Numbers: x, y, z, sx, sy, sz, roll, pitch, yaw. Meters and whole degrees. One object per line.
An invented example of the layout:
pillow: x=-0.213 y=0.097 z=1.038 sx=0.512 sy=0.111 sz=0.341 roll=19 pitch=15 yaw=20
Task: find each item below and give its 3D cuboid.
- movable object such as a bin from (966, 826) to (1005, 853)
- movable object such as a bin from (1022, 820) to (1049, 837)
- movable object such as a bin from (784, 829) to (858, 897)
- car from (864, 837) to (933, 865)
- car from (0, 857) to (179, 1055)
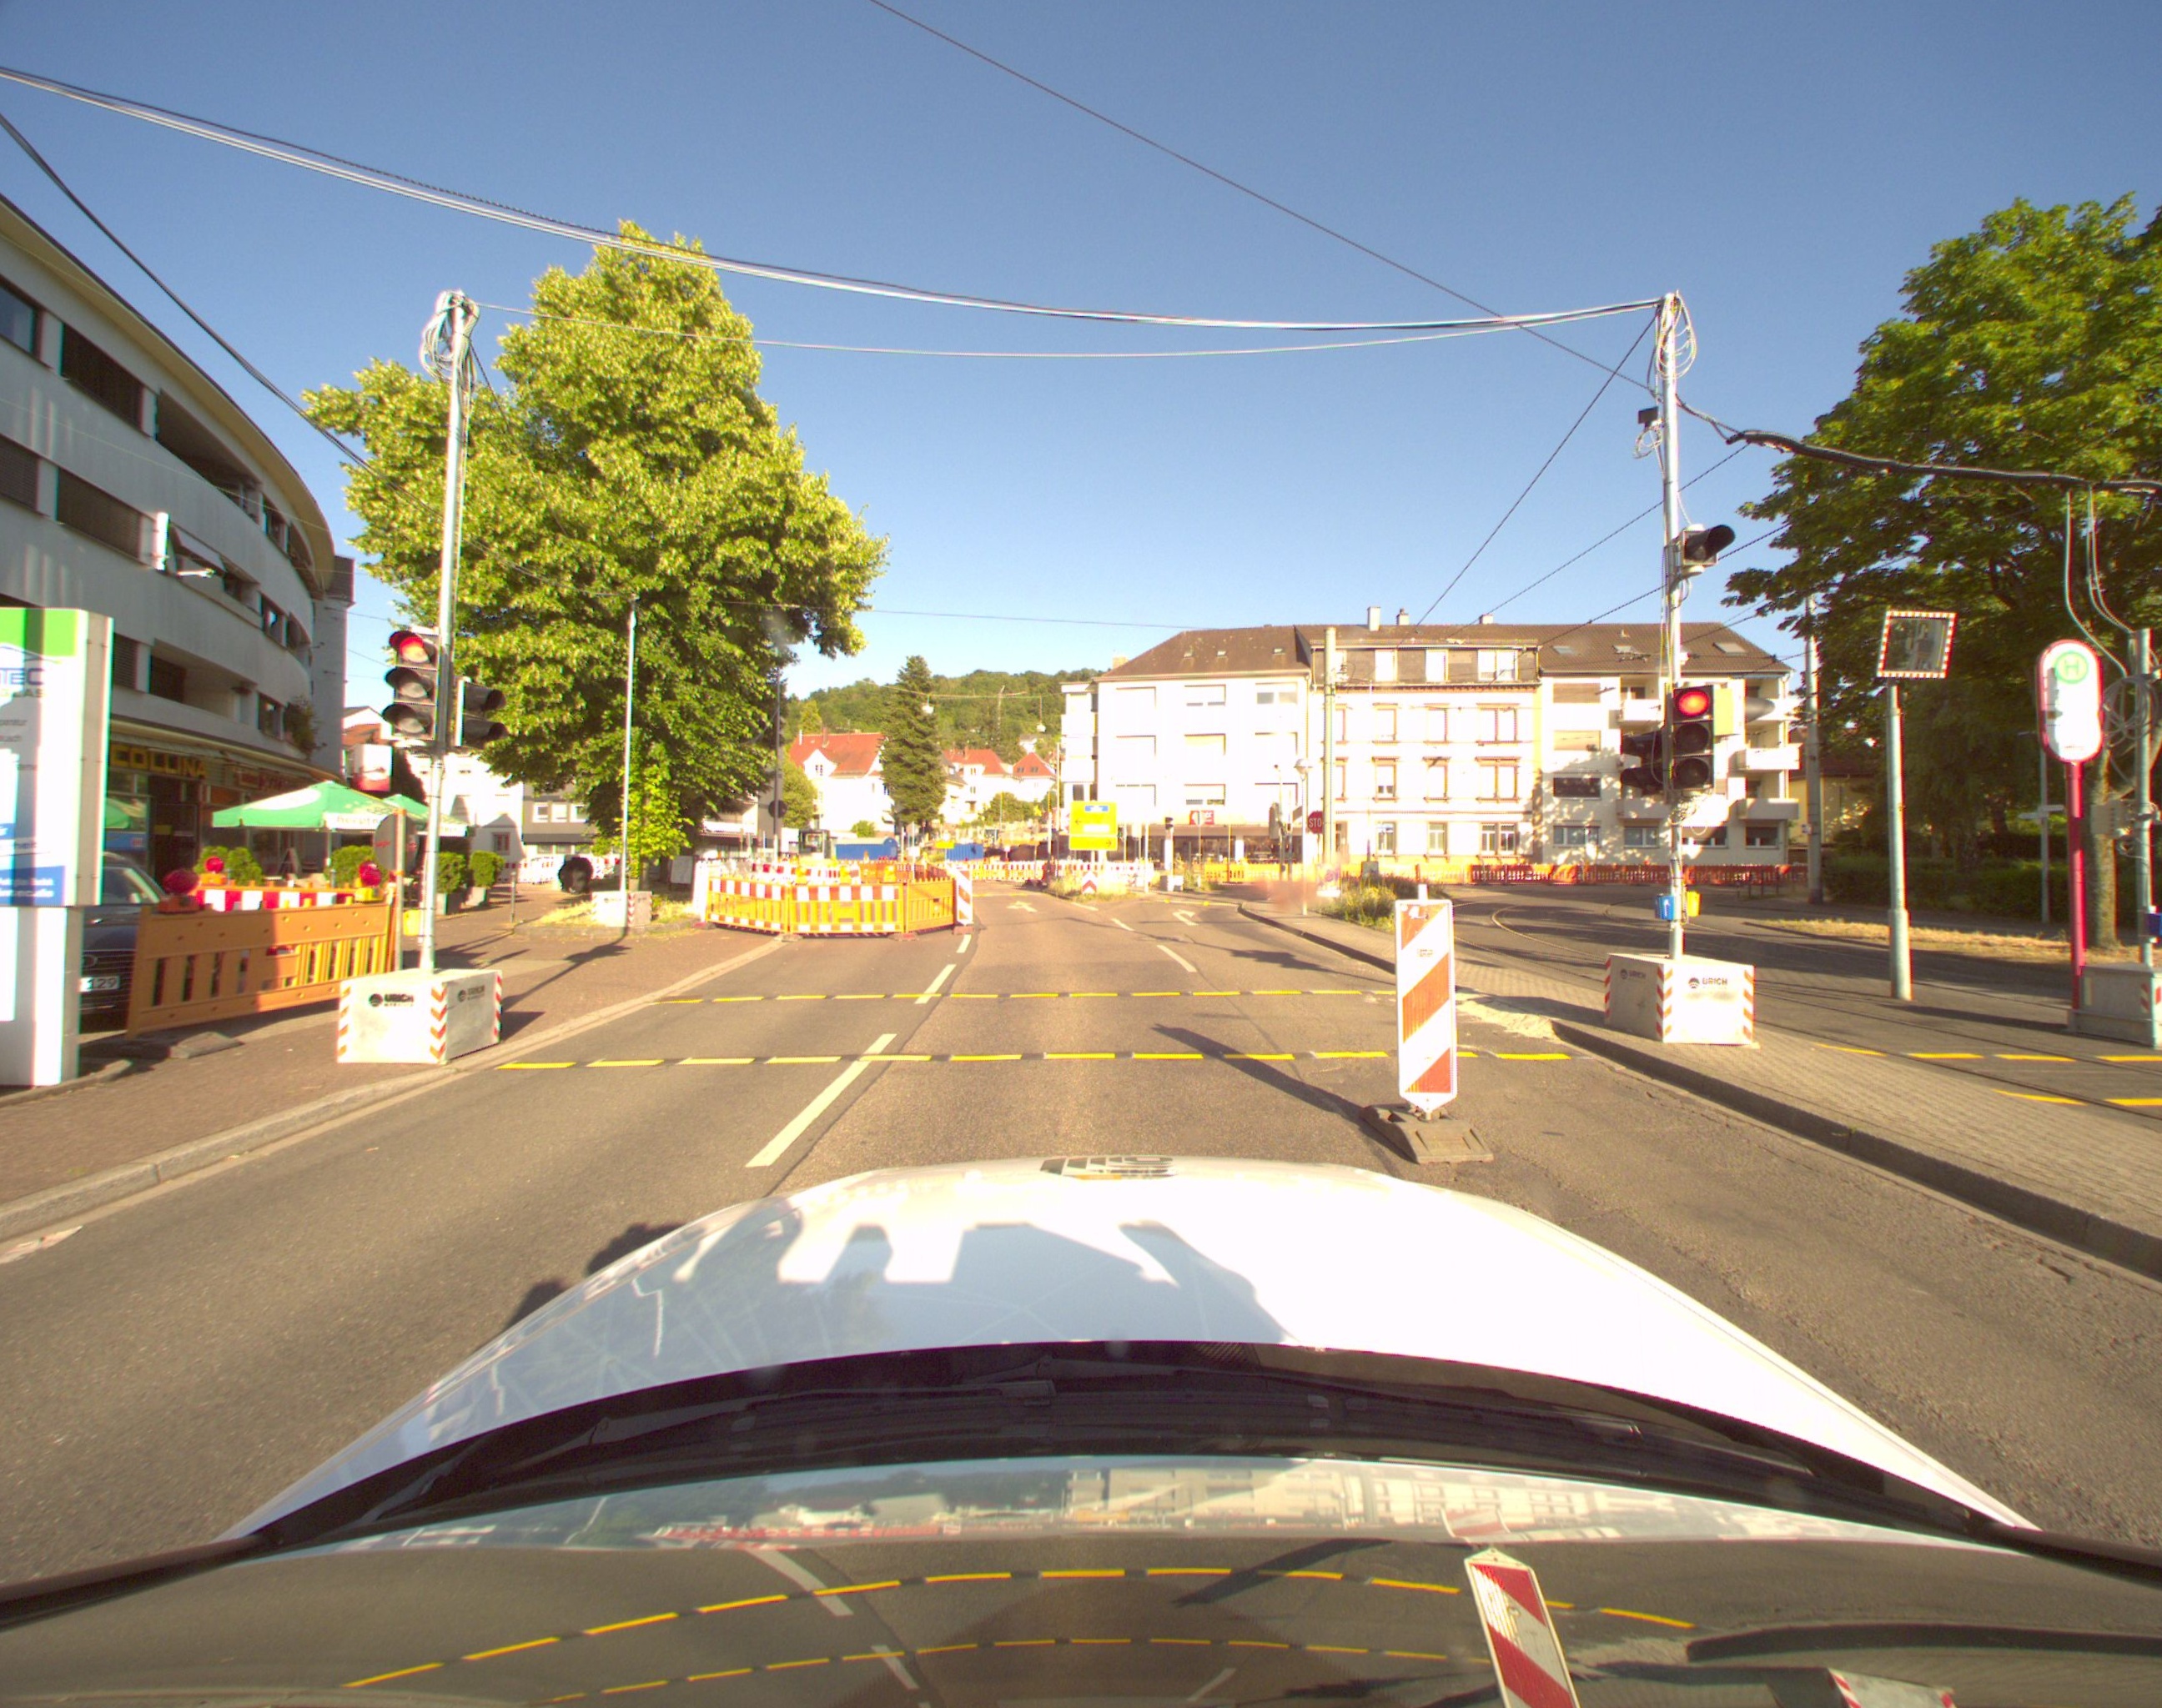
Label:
movable object such as a bin: x=-9.243 y=-1.347 z=79.398 sx=1.932 sy=2.494 sz=4.574 roll=-1 pitch=-1 yaw=20
movable object such as a bin: x=-6.422 y=-3.592 z=115.298 sx=2.549 sy=2.122 sz=5.801 roll=-1 pitch=-1 yaw=11
movable object such as a bin: x=-9.448 y=0.301 z=29.876 sx=1.643 sy=2.324 sz=3.916 roll=0 pitch=0 yaw=-3
car: x=-14.844 y=-0.227 z=66.676 sx=2.562 sy=2.121 sz=6.181 roll=-1 pitch=-1 yaw=20
car: x=-9.319 y=0.780 z=7.314 sx=3.835 sy=1.438 sz=1.606 roll=-1 pitch=0 yaw=42
